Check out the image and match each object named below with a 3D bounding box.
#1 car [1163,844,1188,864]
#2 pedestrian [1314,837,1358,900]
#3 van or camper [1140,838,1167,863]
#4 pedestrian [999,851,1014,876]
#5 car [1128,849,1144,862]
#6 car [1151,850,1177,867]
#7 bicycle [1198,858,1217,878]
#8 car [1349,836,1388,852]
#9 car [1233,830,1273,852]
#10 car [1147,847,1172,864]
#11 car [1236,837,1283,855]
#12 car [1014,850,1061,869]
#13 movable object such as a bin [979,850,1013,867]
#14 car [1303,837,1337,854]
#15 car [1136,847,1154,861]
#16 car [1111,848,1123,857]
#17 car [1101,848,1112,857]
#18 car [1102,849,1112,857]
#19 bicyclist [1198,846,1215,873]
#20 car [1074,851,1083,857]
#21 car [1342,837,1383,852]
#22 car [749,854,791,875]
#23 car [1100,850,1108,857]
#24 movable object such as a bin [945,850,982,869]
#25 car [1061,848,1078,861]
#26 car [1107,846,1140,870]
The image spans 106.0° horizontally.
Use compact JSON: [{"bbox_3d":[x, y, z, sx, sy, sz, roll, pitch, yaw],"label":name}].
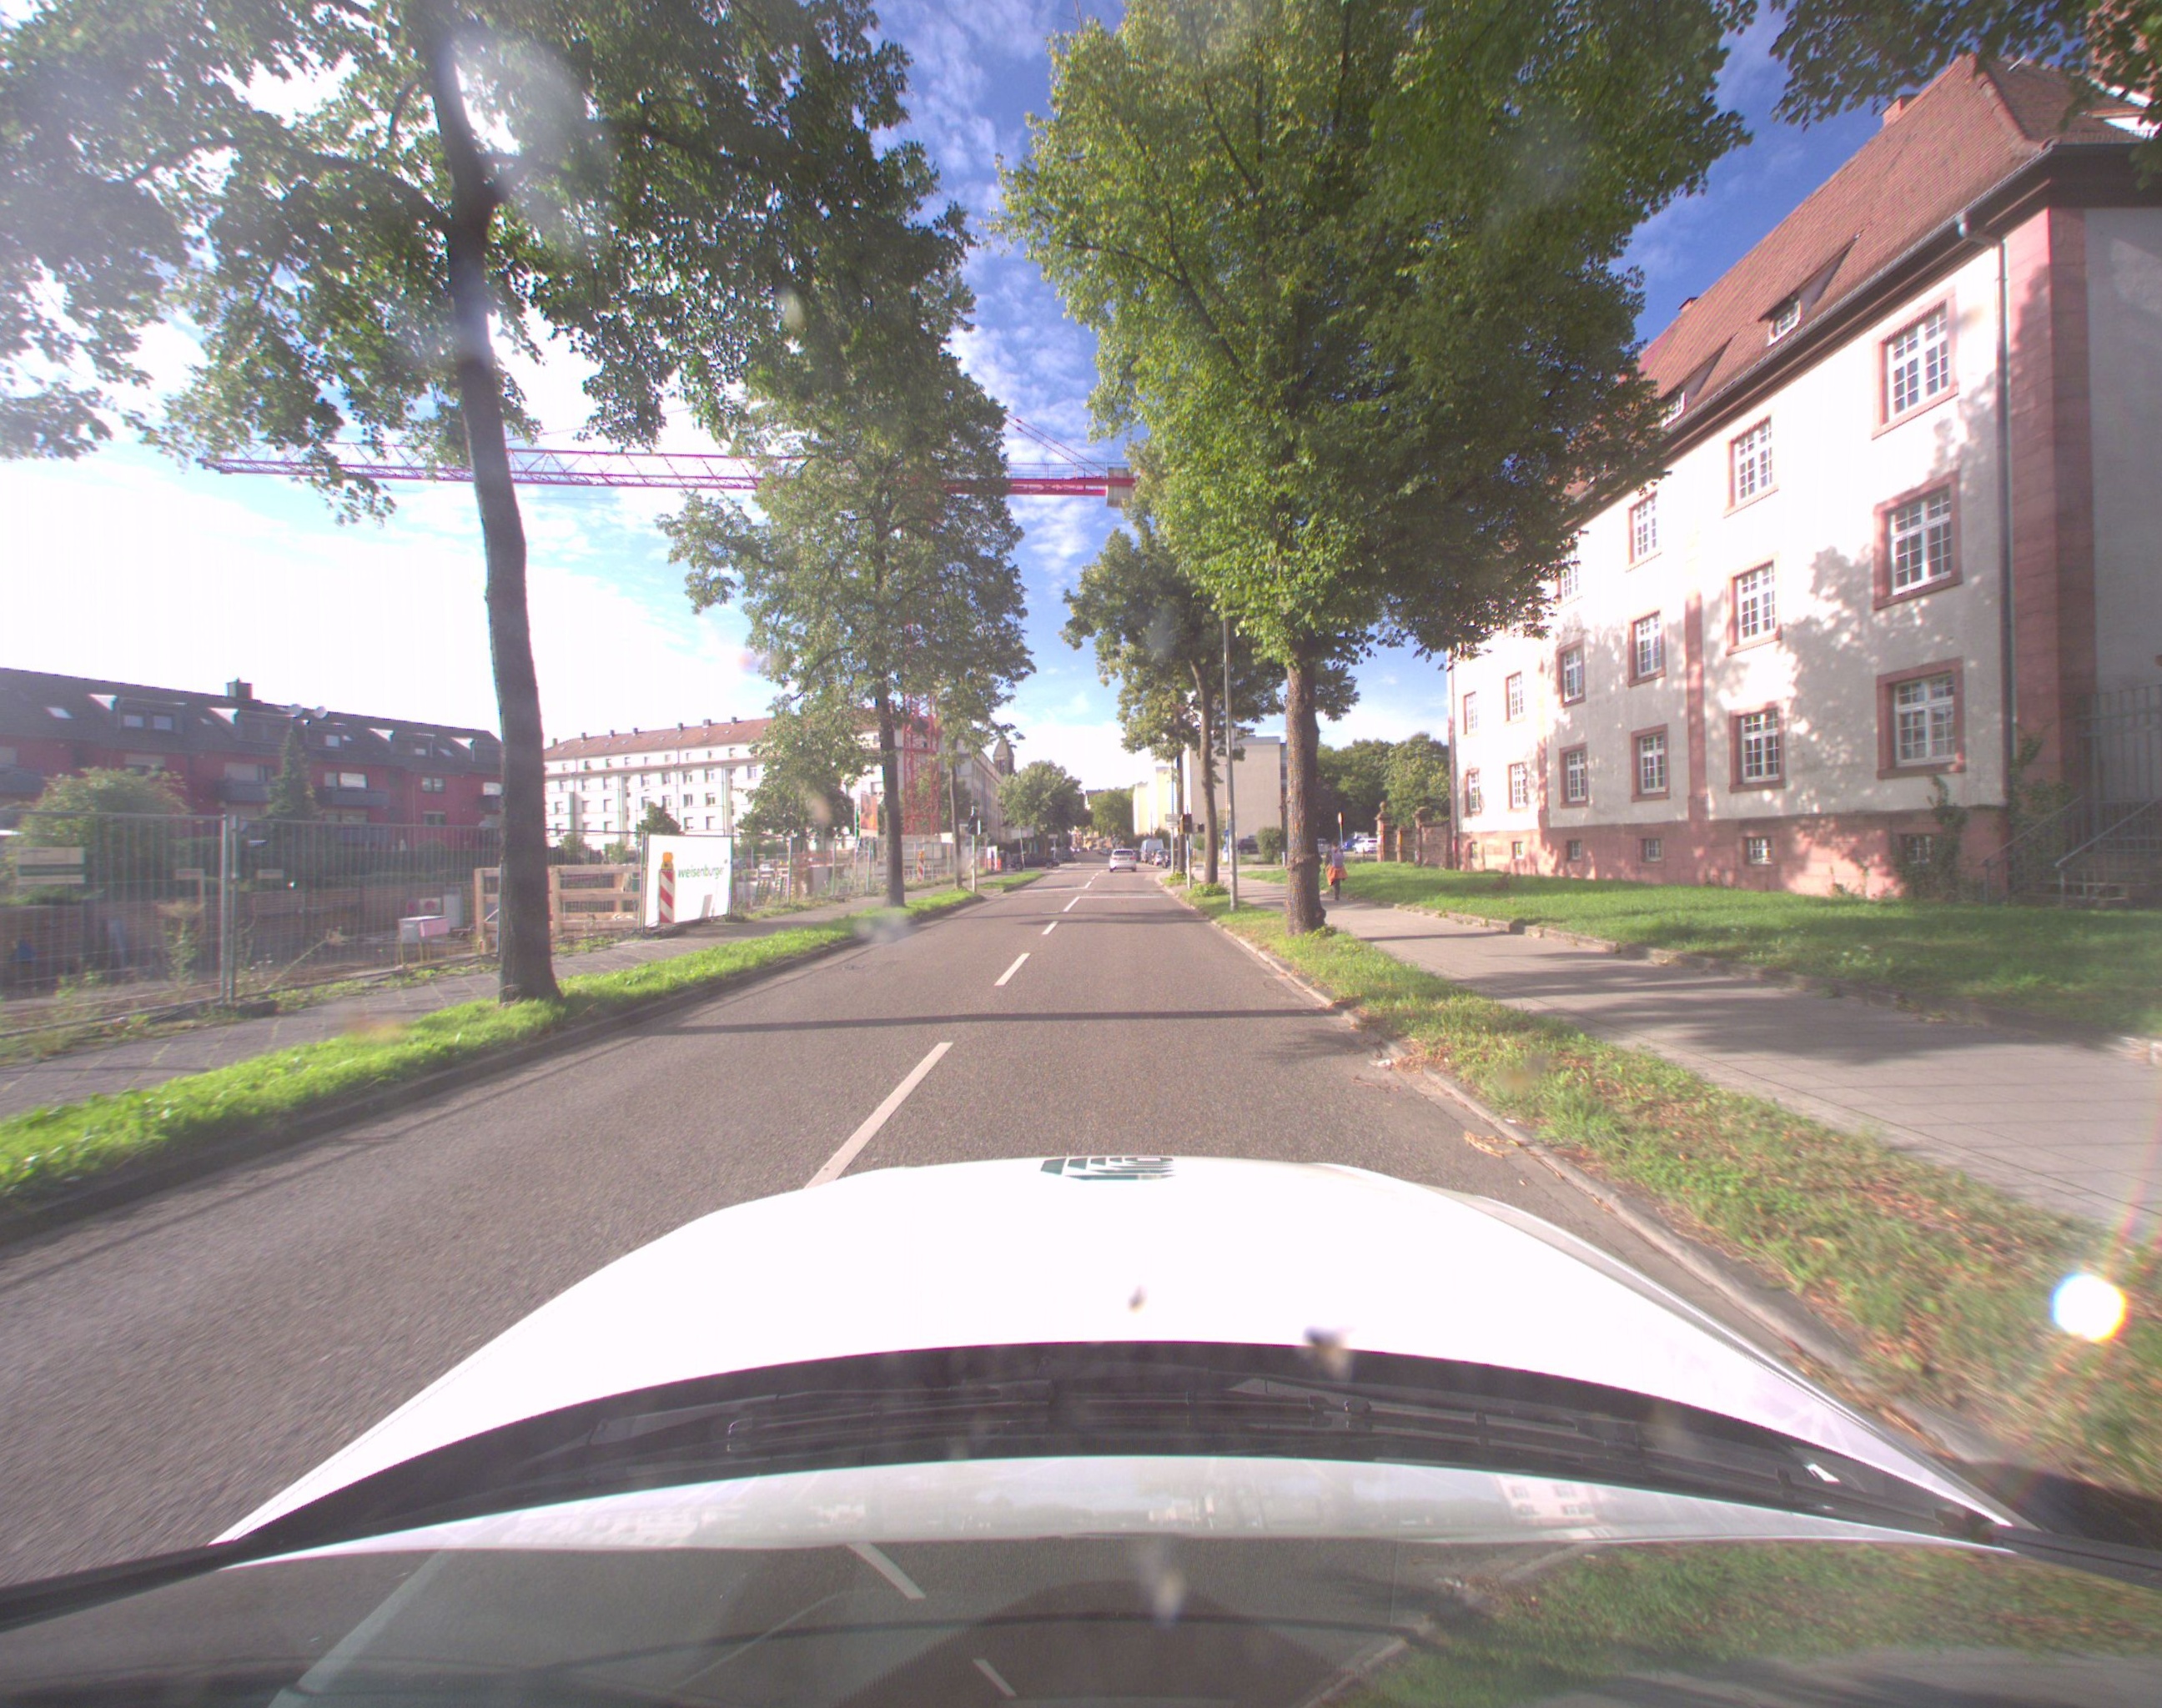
[{"bbox_3d":[7.573,-0.027,65.730,1.710,1.496,4.272,-2,0,3],"label":"car"},{"bbox_3d":[6.667,0.373,21.309,0.811,1.590,0.769,-4,0,1],"label":"pedestrian"},{"bbox_3d":[7.803,-0.386,88.479,2.203,2.607,5.368,-2,0,-2],"label":"van or camper"},{"bbox_3d":[-5.363,0.673,58.592,1.007,1.728,1.174,-1,-1,-10],"label":"pedestrian"},{"bbox_3d":[7.394,0.194,110.073,1.986,1.574,4.001,-2,0,1],"label":"car"},{"bbox_3d":[7.842,0.393,77.183,2.008,1.475,4.804,-3,0,2],"label":"car"},{"bbox_3d":[7.285,0.796,47.002,0.737,1.034,2.763,-4,0,2],"label":"bicycle"},{"bbox_3d":[26.984,-0.942,76.605,1.990,1.442,3.993,-2,0,-5],"label":"car"},{"bbox_3d":[18.776,-1.444,89.053,4.099,2.186,2.003,-2,0,5],"label":"car"},{"bbox_3d":[7.942,0.164,82.289,1.988,1.615,4.406,-2,0,-1],"label":"car"},{"bbox_3d":[18.218,-0.832,83.197,4.426,1.621,2.003,-2,0,5],"label":"car"},{"bbox_3d":[-3.718,0.437,70.147,3.978,1.570,1.998,-1,0,-4],"label":"car"},{"bbox_3d":[-8.563,0.452,82.002,3.080,1.708,1.416,-1,0,15],"label":"movable object such as a bin"},{"bbox_3d":[22.501,-0.783,76.922,1.987,1.442,3.999,-2,0,0],"label":"car"},{"bbox_3d":[7.773,-0.026,99.421,1.986,1.574,4.001,-2,0,1],"label":"car"},{"bbox_3d":[6.541,-0.247,147.628,1.986,1.574,4.001,-2,0,1],"label":"car"},{"bbox_3d":[5.225,-0.265,166.247,1.985,1.755,4.003,-1,0,3],"label":"car"},{"bbox_3d":[5.608,-0.231,176.319,1.985,1.755,4.003,-1,0,3],"label":"car"},{"bbox_3d":[7.244,0.327,47.043,0.734,1.513,0.875,-4,0,2],"label":"bicyclist"},{"bbox_3d":[-0.757,0.025,225.880,2.052,1.663,3.921,-3,0,-4],"label":"car"},{"bbox_3d":[32.061,-1.115,92.710,3.973,1.552,2.001,-2,0,1],"label":"car"},{"bbox_3d":[-32.480,1.051,85.115,1.978,2.013,4.018,-2,0,17],"label":"car"},{"bbox_3d":[5.572,-0.126,196.990,1.985,1.755,4.003,-1,0,3],"label":"car"},{"bbox_3d":[-11.116,0.522,77.063,3.079,1.708,1.554,-1,0,17],"label":"movable object such as a bin"},{"bbox_3d":[-1.497,0.074,105.129,1.990,1.640,3.994,-2,0,-4],"label":"car"},{"bbox_3d":[2.873,0.256,56.074,1.988,1.555,4.272,-1,0,-1],"label":"car"}]
